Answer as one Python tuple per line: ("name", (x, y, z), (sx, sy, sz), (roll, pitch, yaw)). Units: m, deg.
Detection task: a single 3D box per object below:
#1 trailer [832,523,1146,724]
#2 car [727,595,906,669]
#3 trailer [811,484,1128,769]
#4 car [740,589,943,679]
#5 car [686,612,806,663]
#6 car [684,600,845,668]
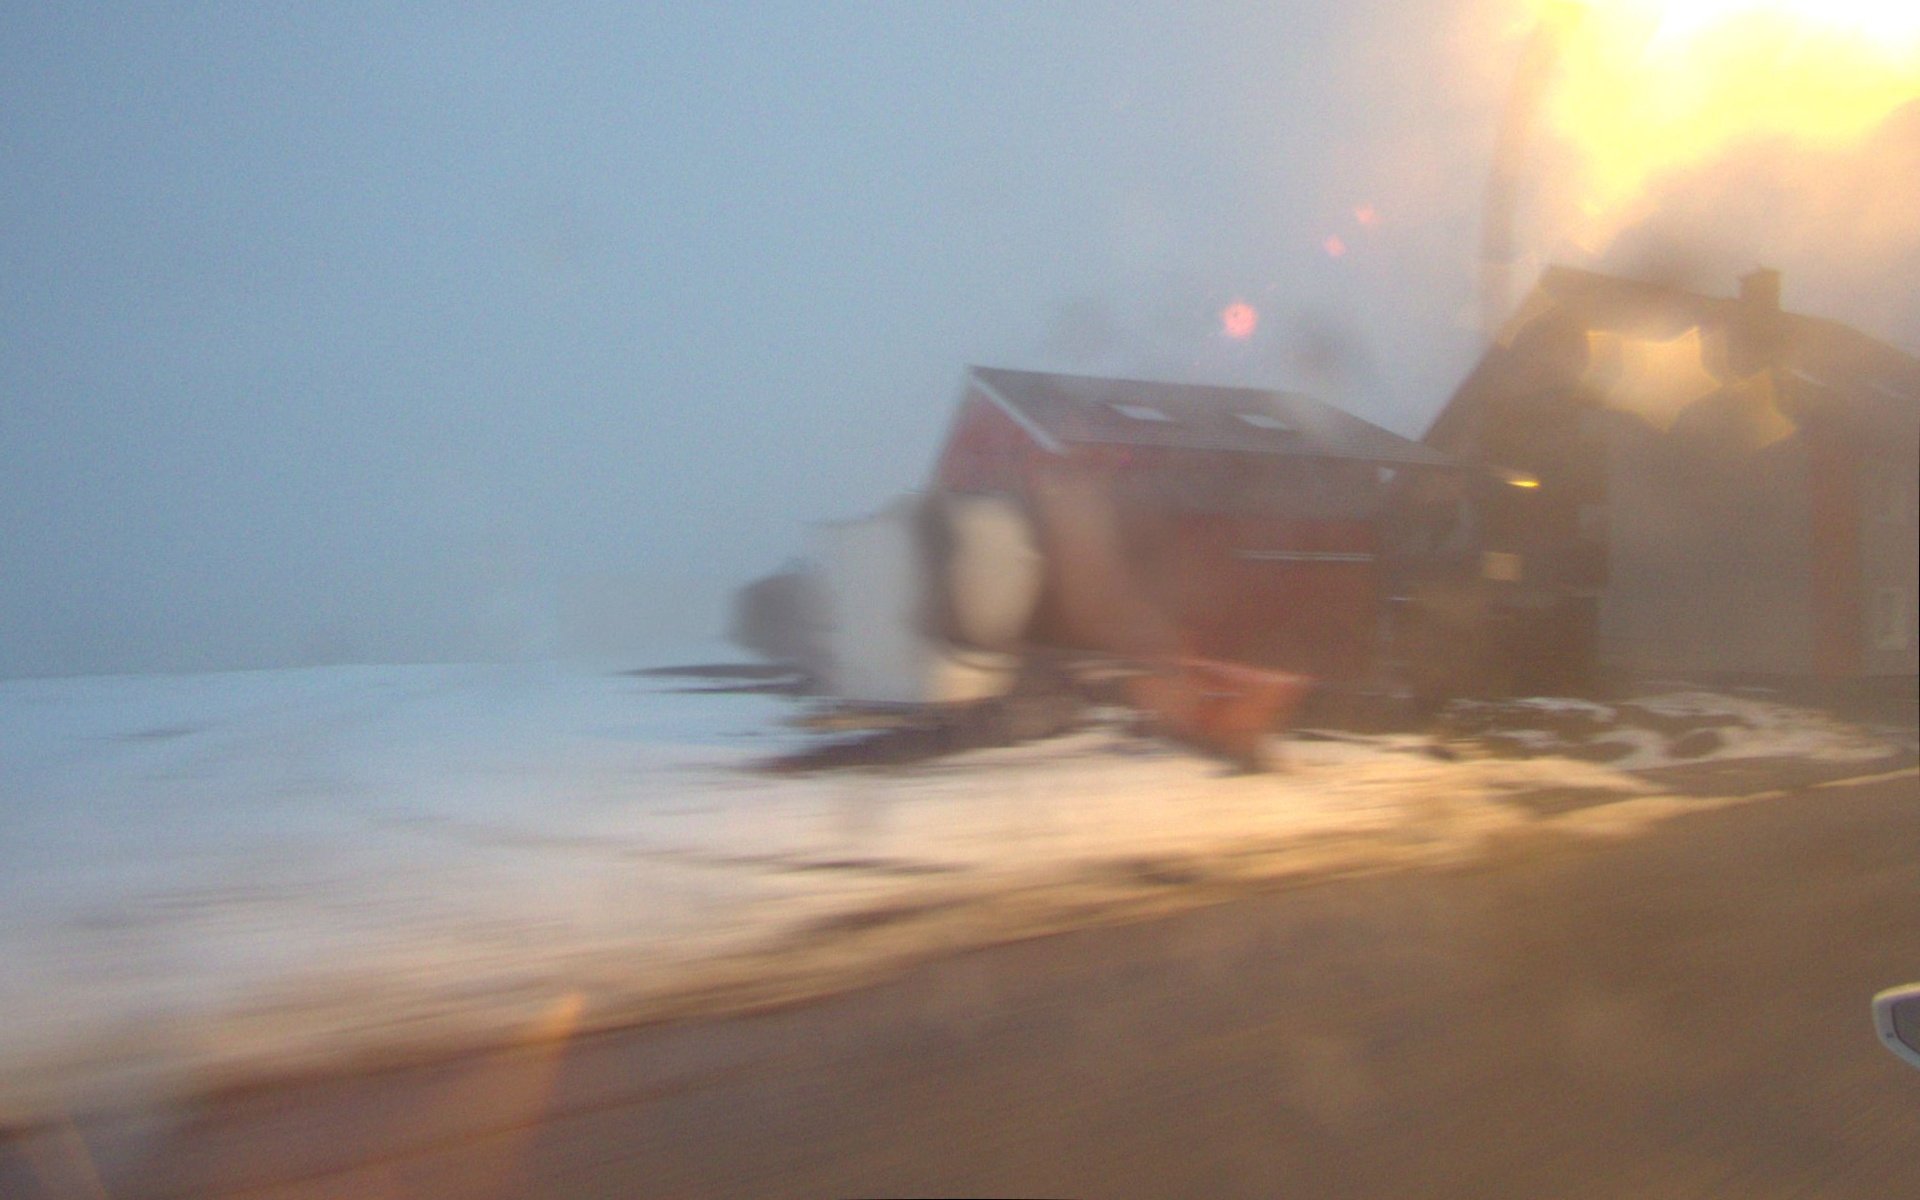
("trailer", (0.376, 0.322, 14.220), (3.951, 2.522, 1.990), (0, -2, -22))
("car", (-3.521, 0.768, 24.517), (3.944, 1.683, 1.989), (0, -2, -24))
("trailer", (0.216, 0.305, 11.162), (1.670, 2.639, 3.428), (-3, -3, 41))
("car", (-2.547, 0.706, 21.302), (3.938, 1.739, 1.992), (-1, -2, -20))
("car", (-7.710, 1.333, 36.096), (3.942, 1.683, 1.990), (0, -2, -22))
("car", (-5.278, 0.909, 27.032), (3.943, 1.683, 1.989), (0, -2, -23))
